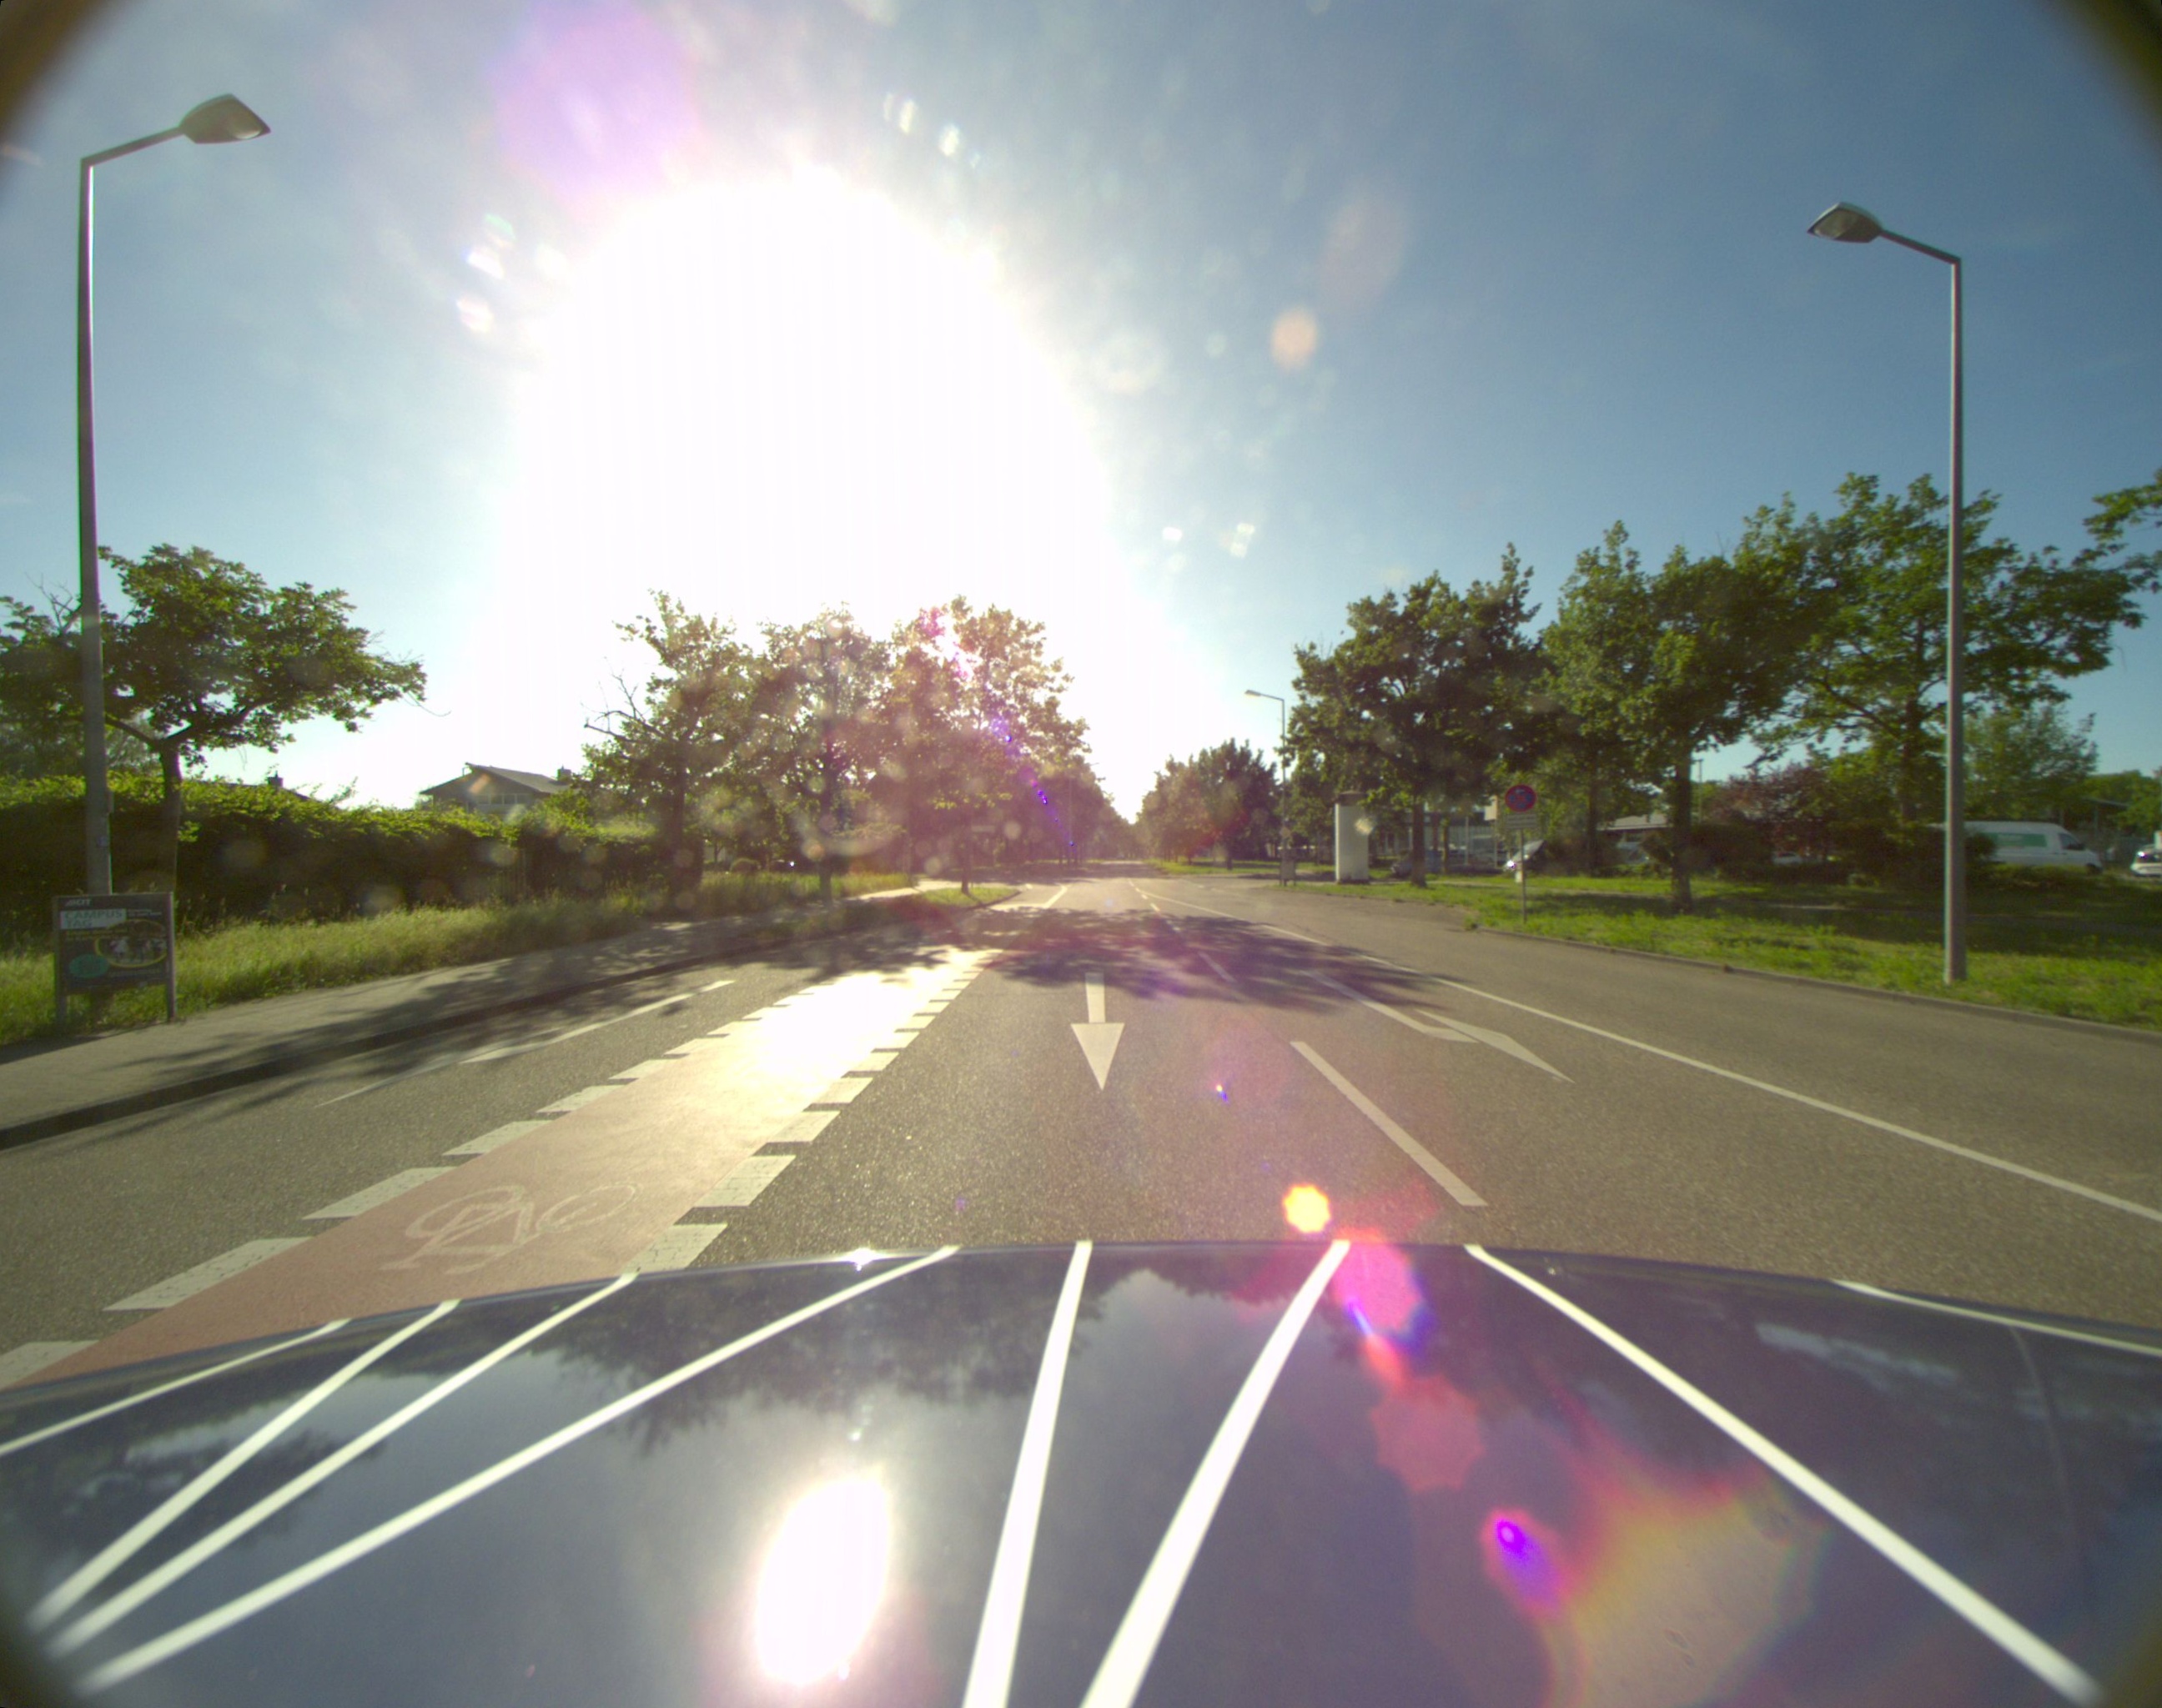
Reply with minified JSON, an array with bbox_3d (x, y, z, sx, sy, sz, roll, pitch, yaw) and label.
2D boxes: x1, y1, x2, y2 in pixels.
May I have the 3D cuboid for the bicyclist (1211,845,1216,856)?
[{"bbox_3d":[18.886,-0.529,108.152,0.665,1.620,0.659,-2,2,3],"label":"bicyclist"}]

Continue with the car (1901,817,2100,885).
[{"bbox_3d":[39.939,-0.160,33.112,6.176,2.687,2.300,-2,1,-3],"label":"car"}]

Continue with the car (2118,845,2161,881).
[{"bbox_3d":[41.009,0.295,28.008,3.532,1.294,1.574,-1,1,-2],"label":"car"}]

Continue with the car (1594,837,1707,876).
[{"bbox_3d":[39.839,0.145,53.273,6.356,2.501,2.300,-2,1,-3],"label":"car"}]

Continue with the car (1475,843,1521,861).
[{"bbox_3d":[39.584,-0.239,72.193,1.998,1.486,4.296,-2,3,0],"label":"car"}]

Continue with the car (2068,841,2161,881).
[{"bbox_3d":[51.666,0.336,37.260,4.250,1.874,1.885,-1,1,-3],"label":"car"}]

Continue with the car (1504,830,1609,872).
[{"bbox_3d":[32.885,-0.241,52.659,5.878,2.687,2.300,-2,1,-3],"label":"car"}]

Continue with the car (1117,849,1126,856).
[{"bbox_3d":[9.024,-0.353,168.898,1.827,1.477,3.999,-2,1,1],"label":"car"}]

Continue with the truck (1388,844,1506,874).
[{"bbox_3d":[25.152,0.339,52.326,7.130,2.038,2.140,0,1,-2],"label":"truck"}]

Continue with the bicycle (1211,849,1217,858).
[{"bbox_3d":[18.903,-0.053,108.225,0.552,1.155,2.334,-2,1,3],"label":"bicycle"}]
